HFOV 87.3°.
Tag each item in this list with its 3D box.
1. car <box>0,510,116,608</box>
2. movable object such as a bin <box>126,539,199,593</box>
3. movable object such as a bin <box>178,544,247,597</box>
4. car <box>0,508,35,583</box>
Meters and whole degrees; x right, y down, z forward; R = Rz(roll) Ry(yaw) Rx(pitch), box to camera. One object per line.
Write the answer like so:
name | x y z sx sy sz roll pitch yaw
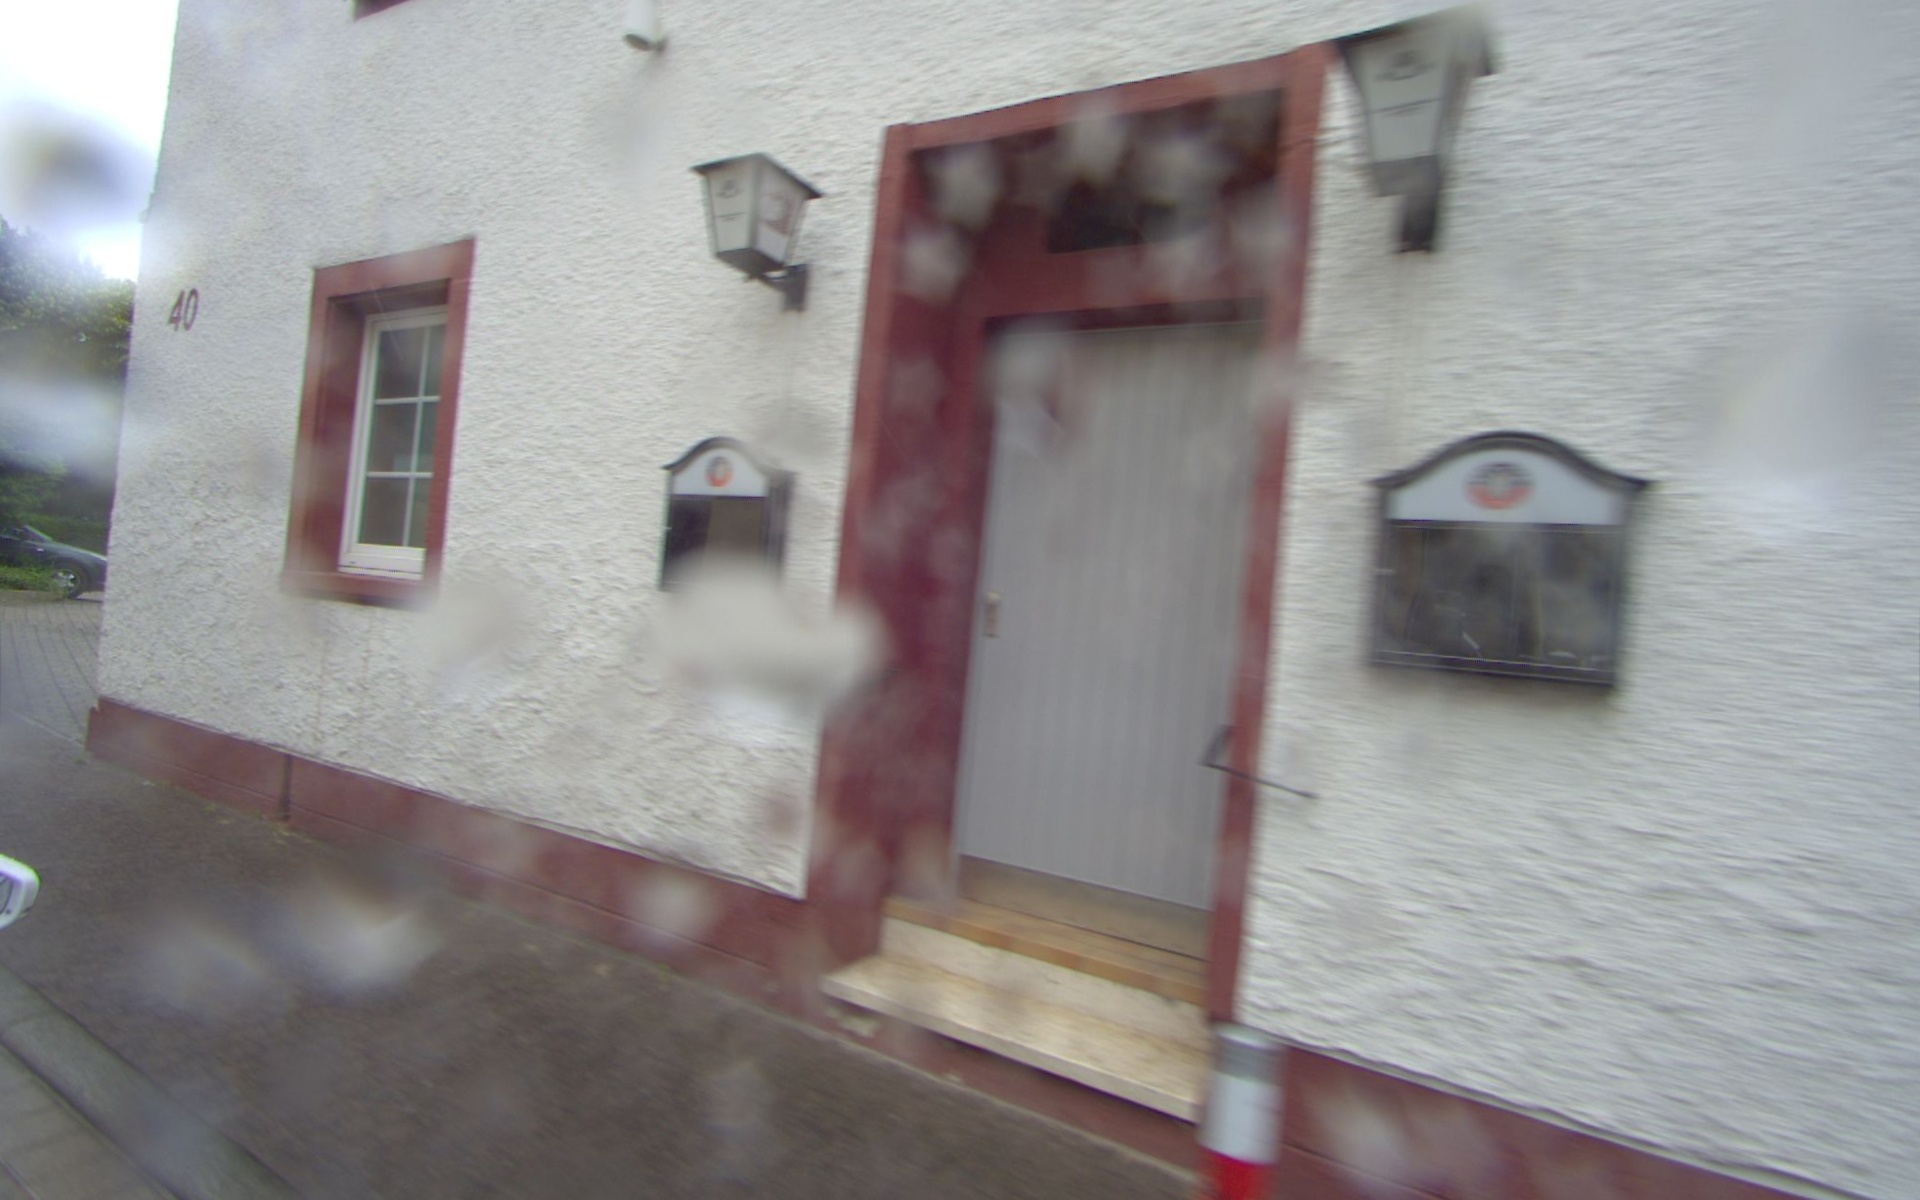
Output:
car | -17.216 -0.885 17.089 4.218 1.497 1.674 9 -3 -44
movable object such as a bin | -23.646 -1.008 29.841 1.136 1.373 1.244 6 -2 32
movable object such as a bin | -22.954 -0.901 30.917 1.136 1.373 1.244 6 -2 32
car | -23.173 -1.475 22.085 1.834 1.608 4.060 6 -3 45
